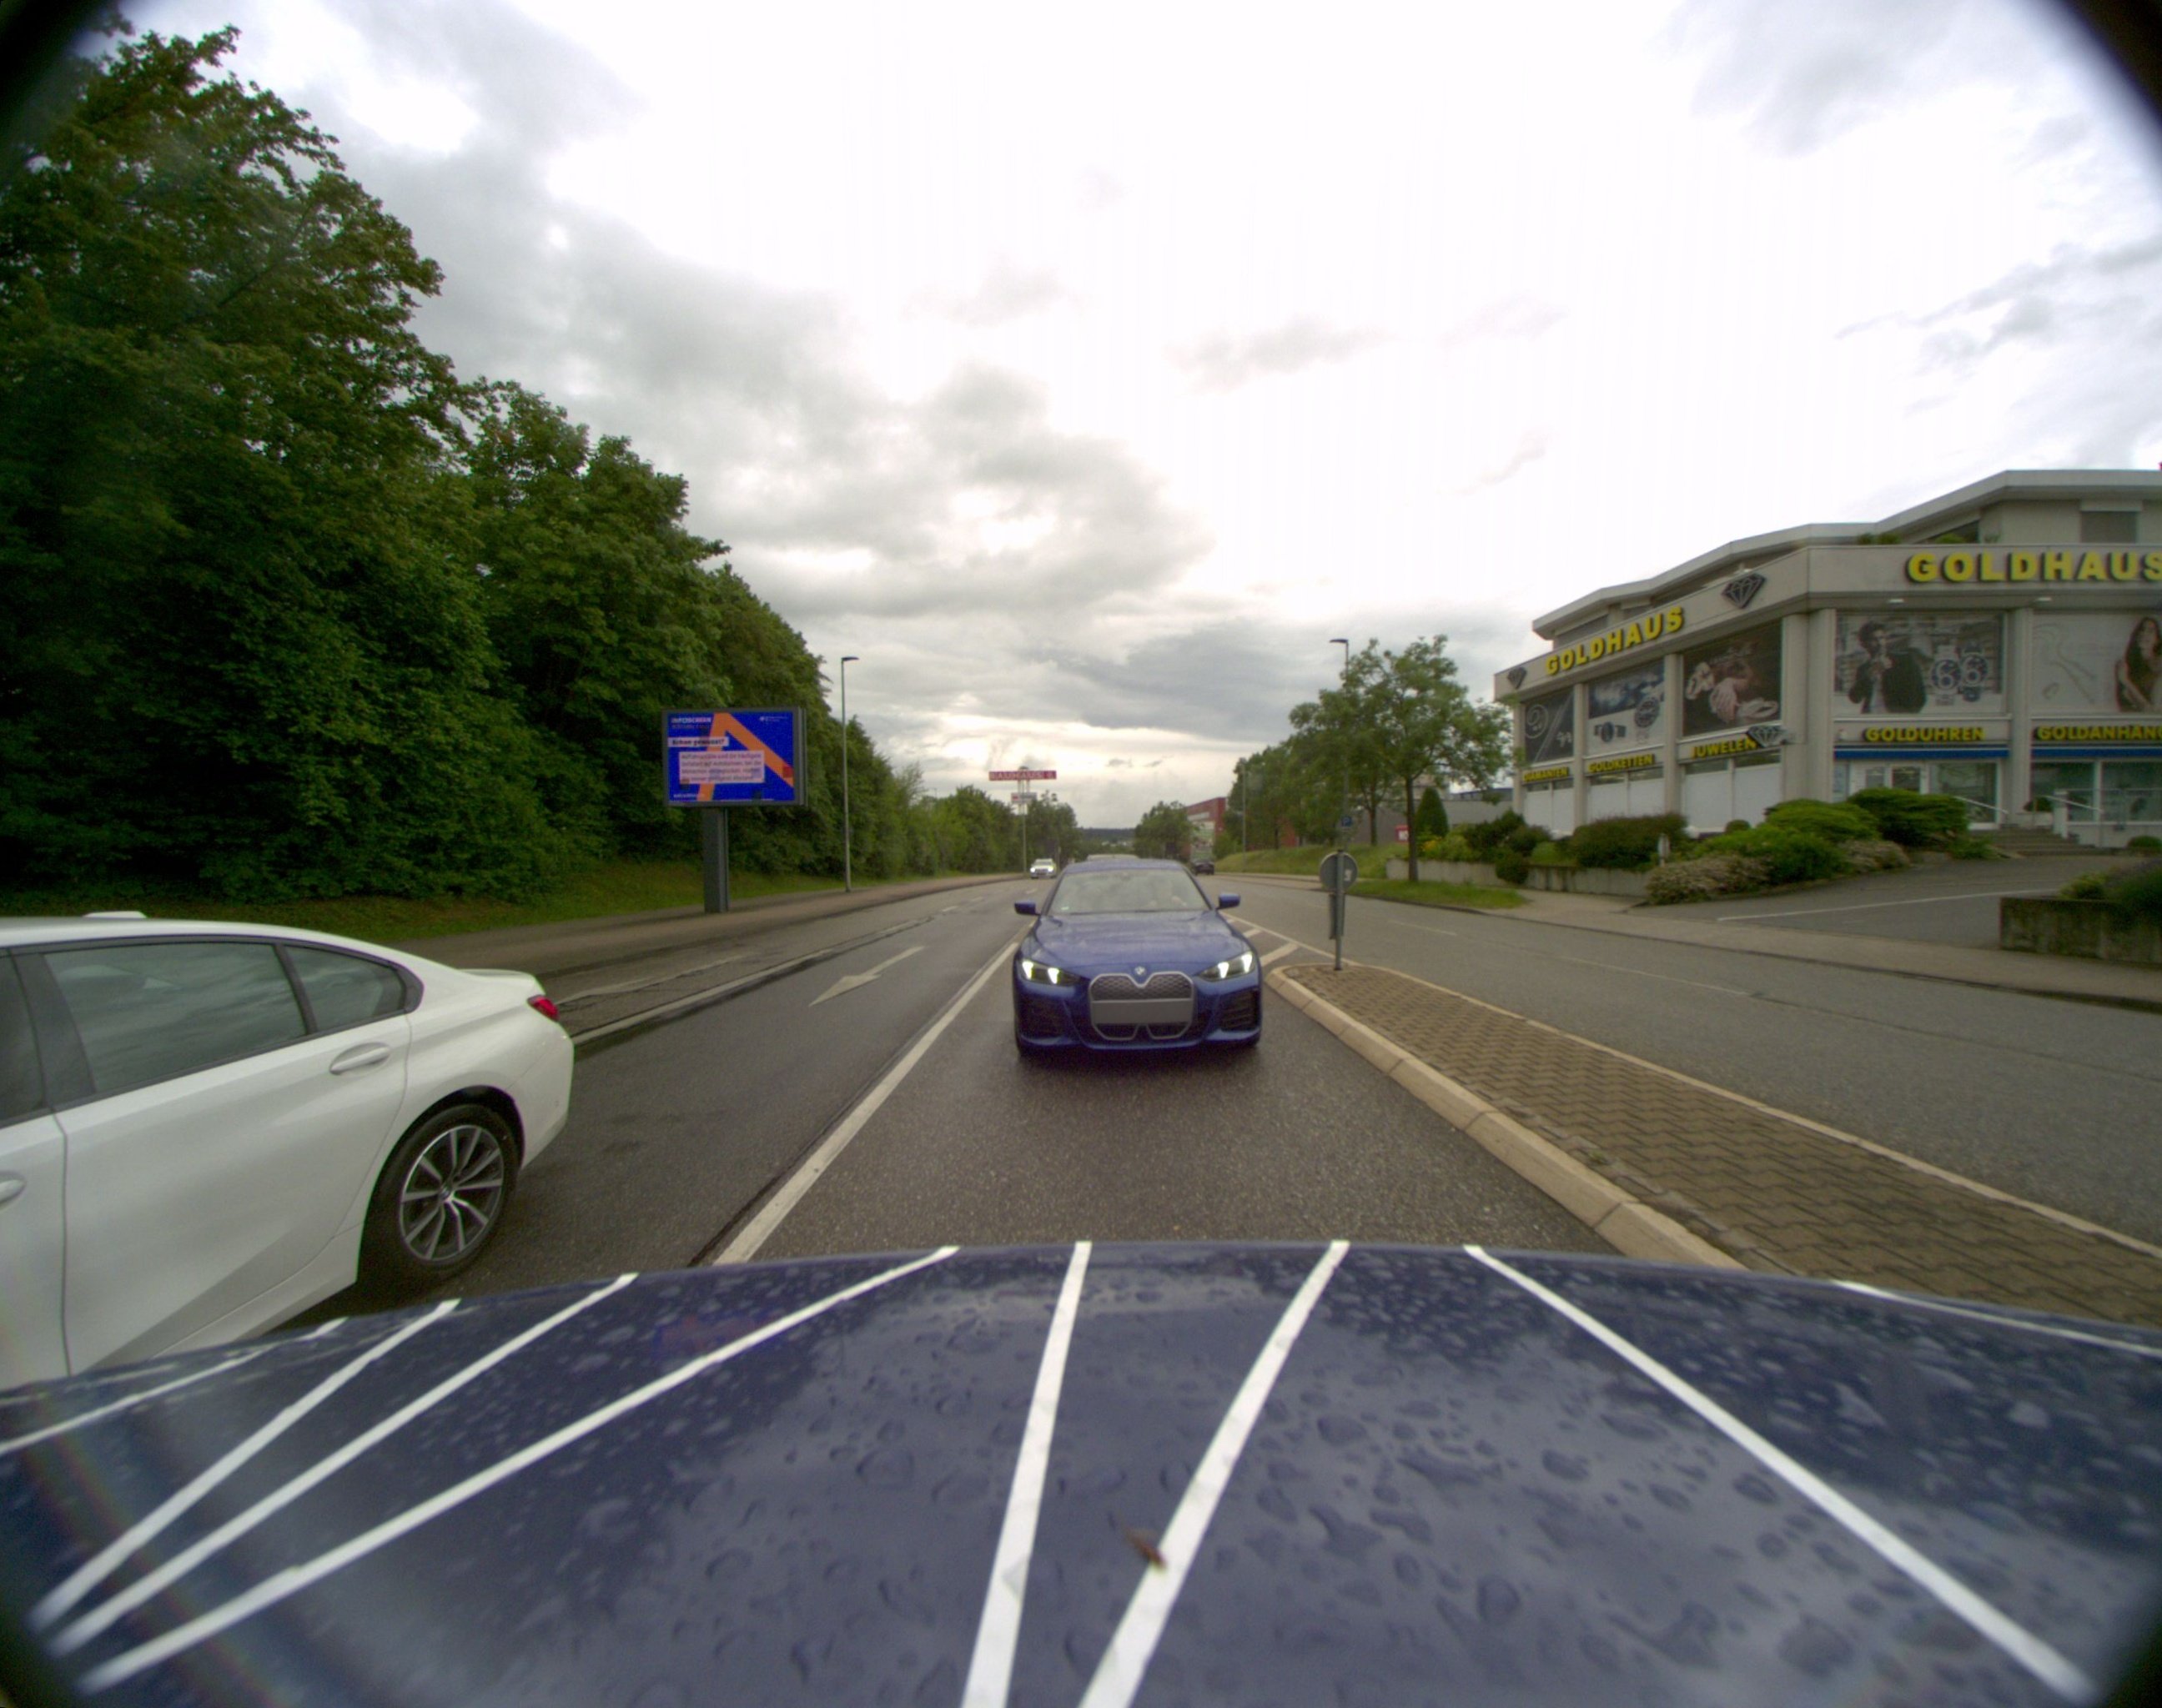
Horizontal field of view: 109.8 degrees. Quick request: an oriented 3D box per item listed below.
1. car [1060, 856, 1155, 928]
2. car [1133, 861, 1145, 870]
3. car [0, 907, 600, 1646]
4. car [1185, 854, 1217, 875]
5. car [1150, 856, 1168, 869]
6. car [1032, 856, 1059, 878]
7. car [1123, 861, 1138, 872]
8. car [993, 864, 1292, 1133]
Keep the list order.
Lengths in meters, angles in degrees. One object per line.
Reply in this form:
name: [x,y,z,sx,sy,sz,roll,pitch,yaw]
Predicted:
car: [0.669,0.825,18.498,1.998,1.455,4.368,-2,0,2]
car: [10.535,2.091,138.552,1.998,1.586,4.001,0,-1,1]
car: [-3.291,1.052,1.428,1.784,1.448,4.678,-2,1,-1]
car: [11.227,1.042,71.493,2.350,1.879,4.545,0,-1,1]
car: [9.941,1.157,96.963,1.998,1.586,4.001,0,-1,1]
car: [-2.917,1.076,63.289,1.998,1.717,4.316,-1,1,1]
car: [7.331,1.855,113.076,1.998,1.586,4.001,0,-1,1]
car: [0.351,0.914,6.935,1.784,1.448,4.596,-2,1,-1]
